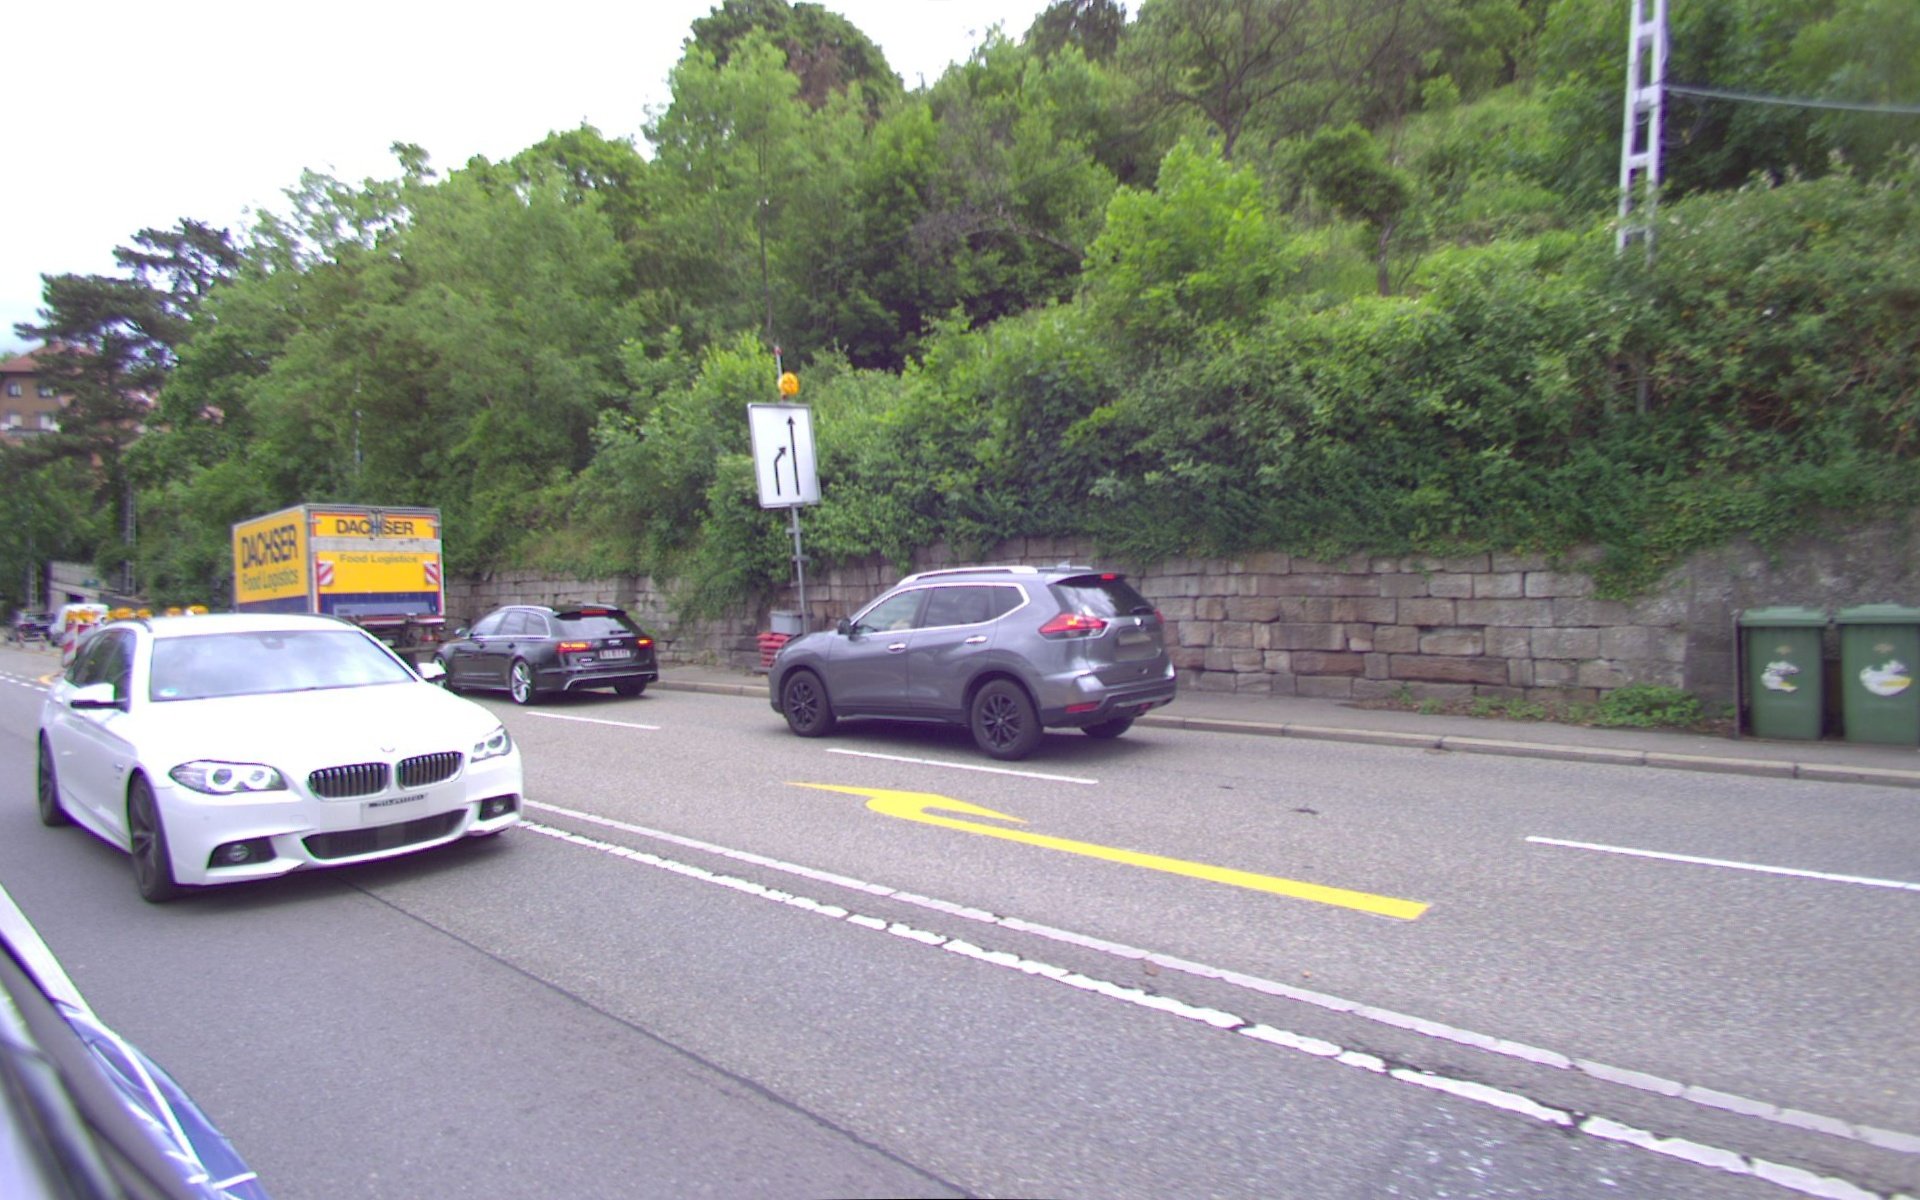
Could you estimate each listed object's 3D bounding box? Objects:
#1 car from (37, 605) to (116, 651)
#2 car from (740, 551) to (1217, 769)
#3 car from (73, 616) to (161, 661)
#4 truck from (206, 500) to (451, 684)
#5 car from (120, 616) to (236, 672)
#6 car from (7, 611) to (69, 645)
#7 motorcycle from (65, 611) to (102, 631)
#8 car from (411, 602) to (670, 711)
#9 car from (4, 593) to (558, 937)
[{"bbox_3d":[-37.712,1.175,43.182,4.337,1.804,1.785,-1,1,39],"label":"car"},{"bbox_3d":[-0.008,0.497,10.179,4.668,1.710,1.864,-2,0,41],"label":"car"},{"bbox_3d":[-31.559,1.402,37.859,4.308,1.519,1.773,-1,1,40],"label":"car"},{"bbox_3d":[-14.492,-0.127,22.955,7.347,3.536,2.702,-1,0,41],"label":"truck"},{"bbox_3d":[-23.115,1.240,29.859,4.743,1.452,1.752,-1,1,41],"label":"car"},{"bbox_3d":[-47.511,1.421,52.104,4.652,1.604,1.812,-1,1,41],"label":"car"},{"bbox_3d":[-59.336,1.410,68.533,0.637,1.191,1.818,5,5,43],"label":"motorcycle"},{"bbox_3d":[-6.766,0.808,16.032,4.872,1.440,1.791,-1,0,41],"label":"car"},{"bbox_3d":[-4.806,0.763,6.800,4.875,1.478,1.829,-1,1,41],"label":"car"}]
